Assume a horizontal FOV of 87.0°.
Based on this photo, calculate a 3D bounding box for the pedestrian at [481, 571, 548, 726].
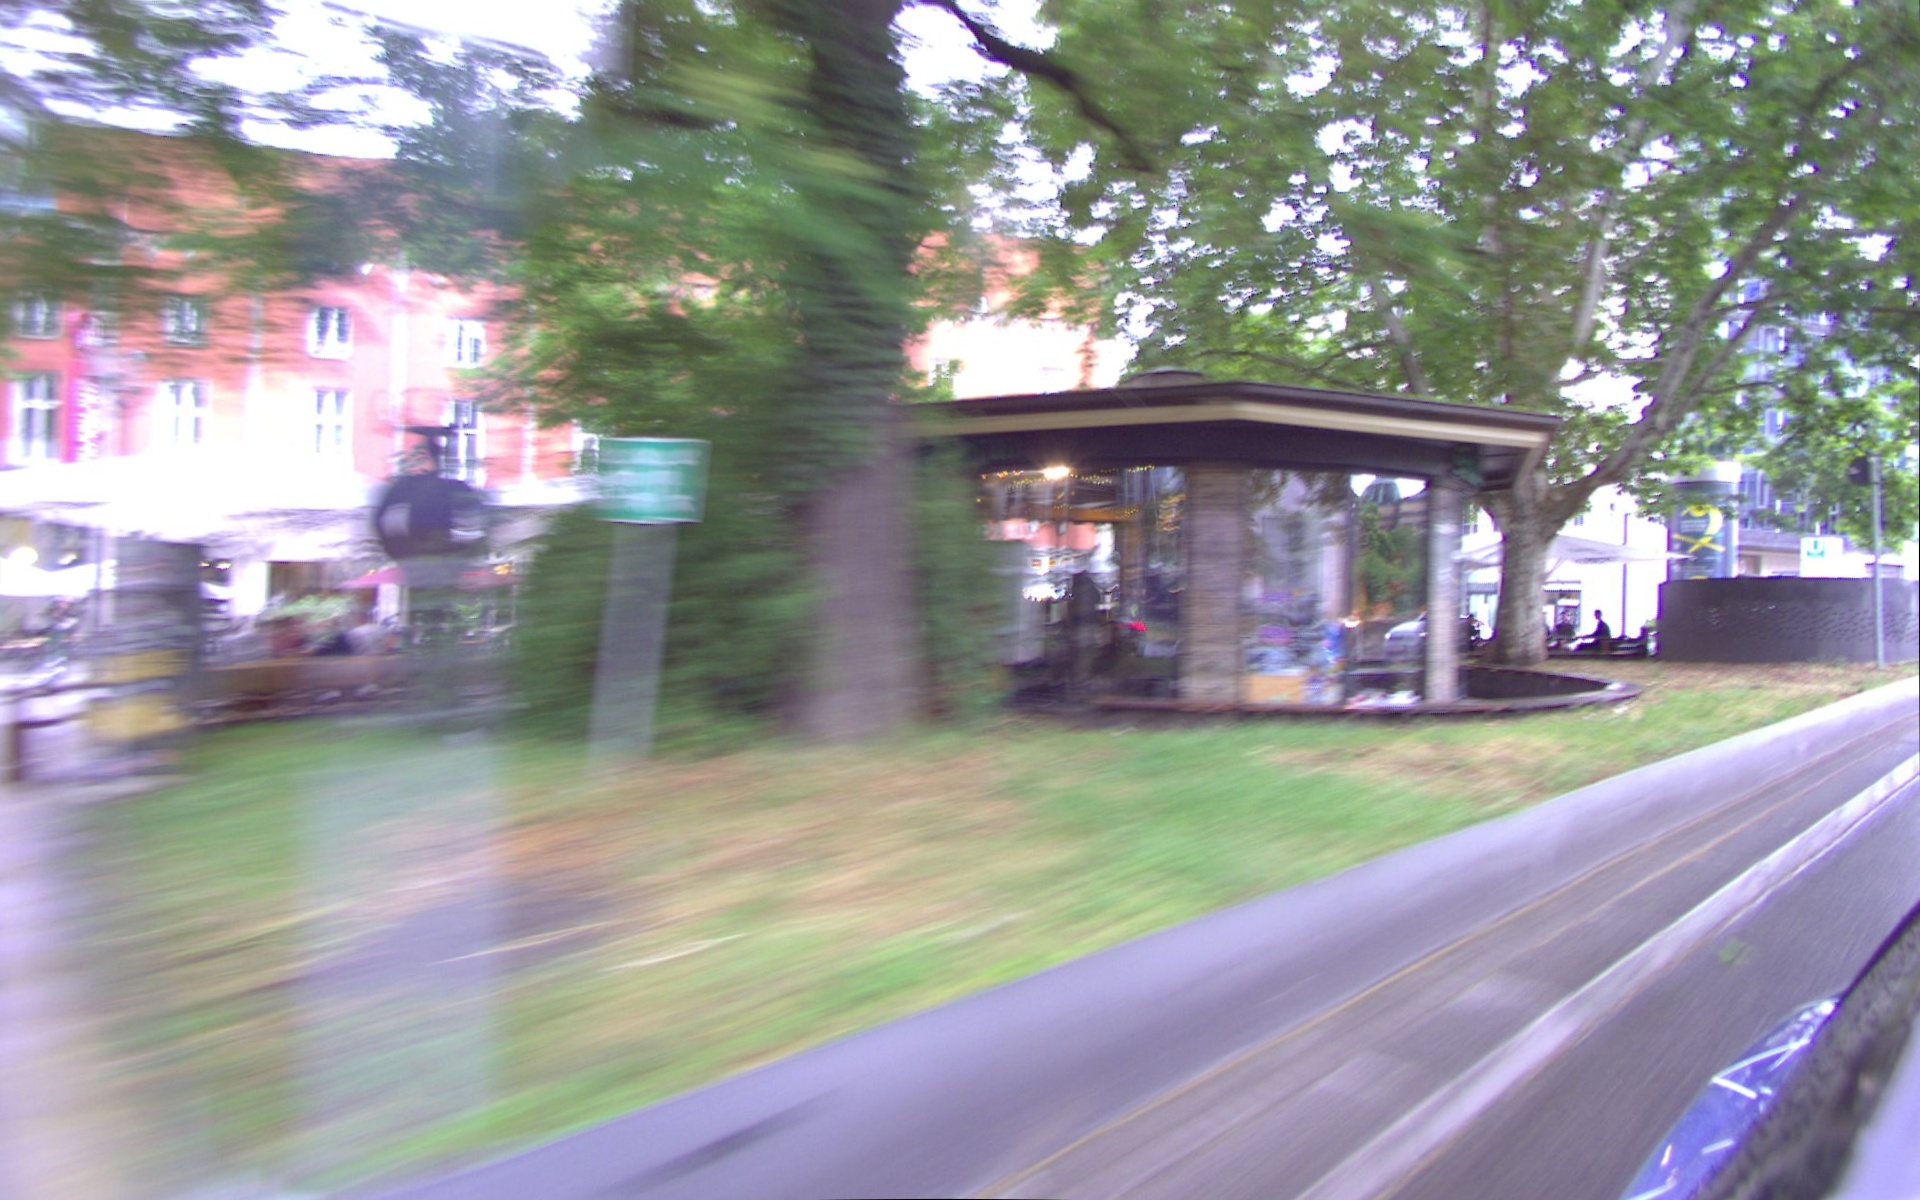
[{"bbox_3d":[-5.486,0.587,12.484,0.629,1.859,0.499,0,-1,-4],"label":"pedestrian"}]

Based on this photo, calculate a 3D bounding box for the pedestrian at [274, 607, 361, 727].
[{"bbox_3d":[-7.507,0.762,11.856,0.628,1.344,0.720,0,-1,-10],"label":"pedestrian"}]

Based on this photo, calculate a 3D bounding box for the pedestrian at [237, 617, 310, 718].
[{"bbox_3d":[-8.853,0.852,13.069,0.564,1.256,0.635,0,-1,-10],"label":"pedestrian"}]

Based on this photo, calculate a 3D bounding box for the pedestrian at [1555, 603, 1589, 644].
[{"bbox_3d":[13.802,0.527,22.834,0.566,0.883,0.506,0,1,20],"label":"pedestrian"}]

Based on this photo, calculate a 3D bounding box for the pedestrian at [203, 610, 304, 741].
[{"bbox_3d":[-7.533,0.779,10.819,0.628,1.344,0.720,0,-1,-10],"label":"pedestrian"}]

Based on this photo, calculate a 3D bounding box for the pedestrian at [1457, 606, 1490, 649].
[{"bbox_3d":[11.174,0.591,22.043,0.566,0.883,0.563,0,1,19],"label":"pedestrian"}]

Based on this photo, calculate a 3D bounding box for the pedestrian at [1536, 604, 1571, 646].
[{"bbox_3d":[13.032,0.537,22.232,0.566,0.883,0.506,0,1,20],"label":"pedestrian"}]

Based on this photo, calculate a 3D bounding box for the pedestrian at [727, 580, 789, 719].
[{"bbox_3d":[-2.528,0.609,12.707,0.669,1.702,0.571,0,-1,-2],"label":"pedestrian"}]

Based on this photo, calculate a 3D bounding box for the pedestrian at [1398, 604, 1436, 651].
[{"bbox_3d":[8.946,0.528,19.826,0.618,0.883,0.506,0,1,19],"label":"pedestrian"}]

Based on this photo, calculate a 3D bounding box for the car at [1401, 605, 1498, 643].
[{"bbox_3d":[21.376,1.013,44.370,1.617,1.459,3.896,1,1,-16],"label":"car"}]

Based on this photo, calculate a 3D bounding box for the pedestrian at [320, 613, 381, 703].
[{"bbox_3d":[-8.818,0.826,14.660,0.564,1.256,0.635,0,-1,-10],"label":"pedestrian"}]

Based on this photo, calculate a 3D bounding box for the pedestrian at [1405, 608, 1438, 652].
[{"bbox_3d":[9.497,0.609,20.857,0.566,0.883,0.506,0,1,20],"label":"pedestrian"}]

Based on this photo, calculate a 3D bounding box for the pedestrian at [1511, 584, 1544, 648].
[{"bbox_3d":[11.637,0.316,20.764,0.523,1.292,0.401,0,0,21],"label":"pedestrian"}]

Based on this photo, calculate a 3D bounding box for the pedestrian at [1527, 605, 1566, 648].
[{"bbox_3d":[12.459,0.550,21.510,0.566,0.883,0.738,0,1,19],"label":"pedestrian"}]

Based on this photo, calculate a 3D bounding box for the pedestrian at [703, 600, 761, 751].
[{"bbox_3d":[-2.236,0.719,9.946,0.338,1.436,0.518,-1,-1,19],"label":"pedestrian"}]

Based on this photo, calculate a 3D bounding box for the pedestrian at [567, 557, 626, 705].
[{"bbox_3d":[-4.269,0.359,11.901,0.536,1.702,0.499,0,-1,-3],"label":"pedestrian"}]

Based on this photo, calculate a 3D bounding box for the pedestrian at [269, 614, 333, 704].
[{"bbox_3d":[-9.472,0.829,14.557,0.564,1.256,0.635,0,-1,-10],"label":"pedestrian"}]

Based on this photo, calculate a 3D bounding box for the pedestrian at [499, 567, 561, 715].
[{"bbox_3d":[-5.042,0.475,11.896,0.536,1.702,0.499,0,-1,-3],"label":"pedestrian"}]

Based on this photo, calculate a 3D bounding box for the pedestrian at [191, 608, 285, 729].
[{"bbox_3d":[-8.351,0.766,11.726,0.628,1.344,0.720,0,-1,-10],"label":"pedestrian"}]

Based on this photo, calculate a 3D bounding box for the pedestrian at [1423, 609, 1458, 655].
[{"bbox_3d":[9.563,0.627,20.166,0.566,0.883,0.506,0,1,20],"label":"pedestrian"}]

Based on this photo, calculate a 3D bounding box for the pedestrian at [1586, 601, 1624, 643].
[{"bbox_3d":[13.907,0.460,21.825,0.566,0.883,0.506,0,1,20],"label":"pedestrian"}]

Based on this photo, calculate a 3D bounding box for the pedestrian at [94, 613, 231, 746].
[{"bbox_3d":[-8.390,0.816,10.679,0.927,1.344,0.642,0,-1,-7],"label":"pedestrian"}]
